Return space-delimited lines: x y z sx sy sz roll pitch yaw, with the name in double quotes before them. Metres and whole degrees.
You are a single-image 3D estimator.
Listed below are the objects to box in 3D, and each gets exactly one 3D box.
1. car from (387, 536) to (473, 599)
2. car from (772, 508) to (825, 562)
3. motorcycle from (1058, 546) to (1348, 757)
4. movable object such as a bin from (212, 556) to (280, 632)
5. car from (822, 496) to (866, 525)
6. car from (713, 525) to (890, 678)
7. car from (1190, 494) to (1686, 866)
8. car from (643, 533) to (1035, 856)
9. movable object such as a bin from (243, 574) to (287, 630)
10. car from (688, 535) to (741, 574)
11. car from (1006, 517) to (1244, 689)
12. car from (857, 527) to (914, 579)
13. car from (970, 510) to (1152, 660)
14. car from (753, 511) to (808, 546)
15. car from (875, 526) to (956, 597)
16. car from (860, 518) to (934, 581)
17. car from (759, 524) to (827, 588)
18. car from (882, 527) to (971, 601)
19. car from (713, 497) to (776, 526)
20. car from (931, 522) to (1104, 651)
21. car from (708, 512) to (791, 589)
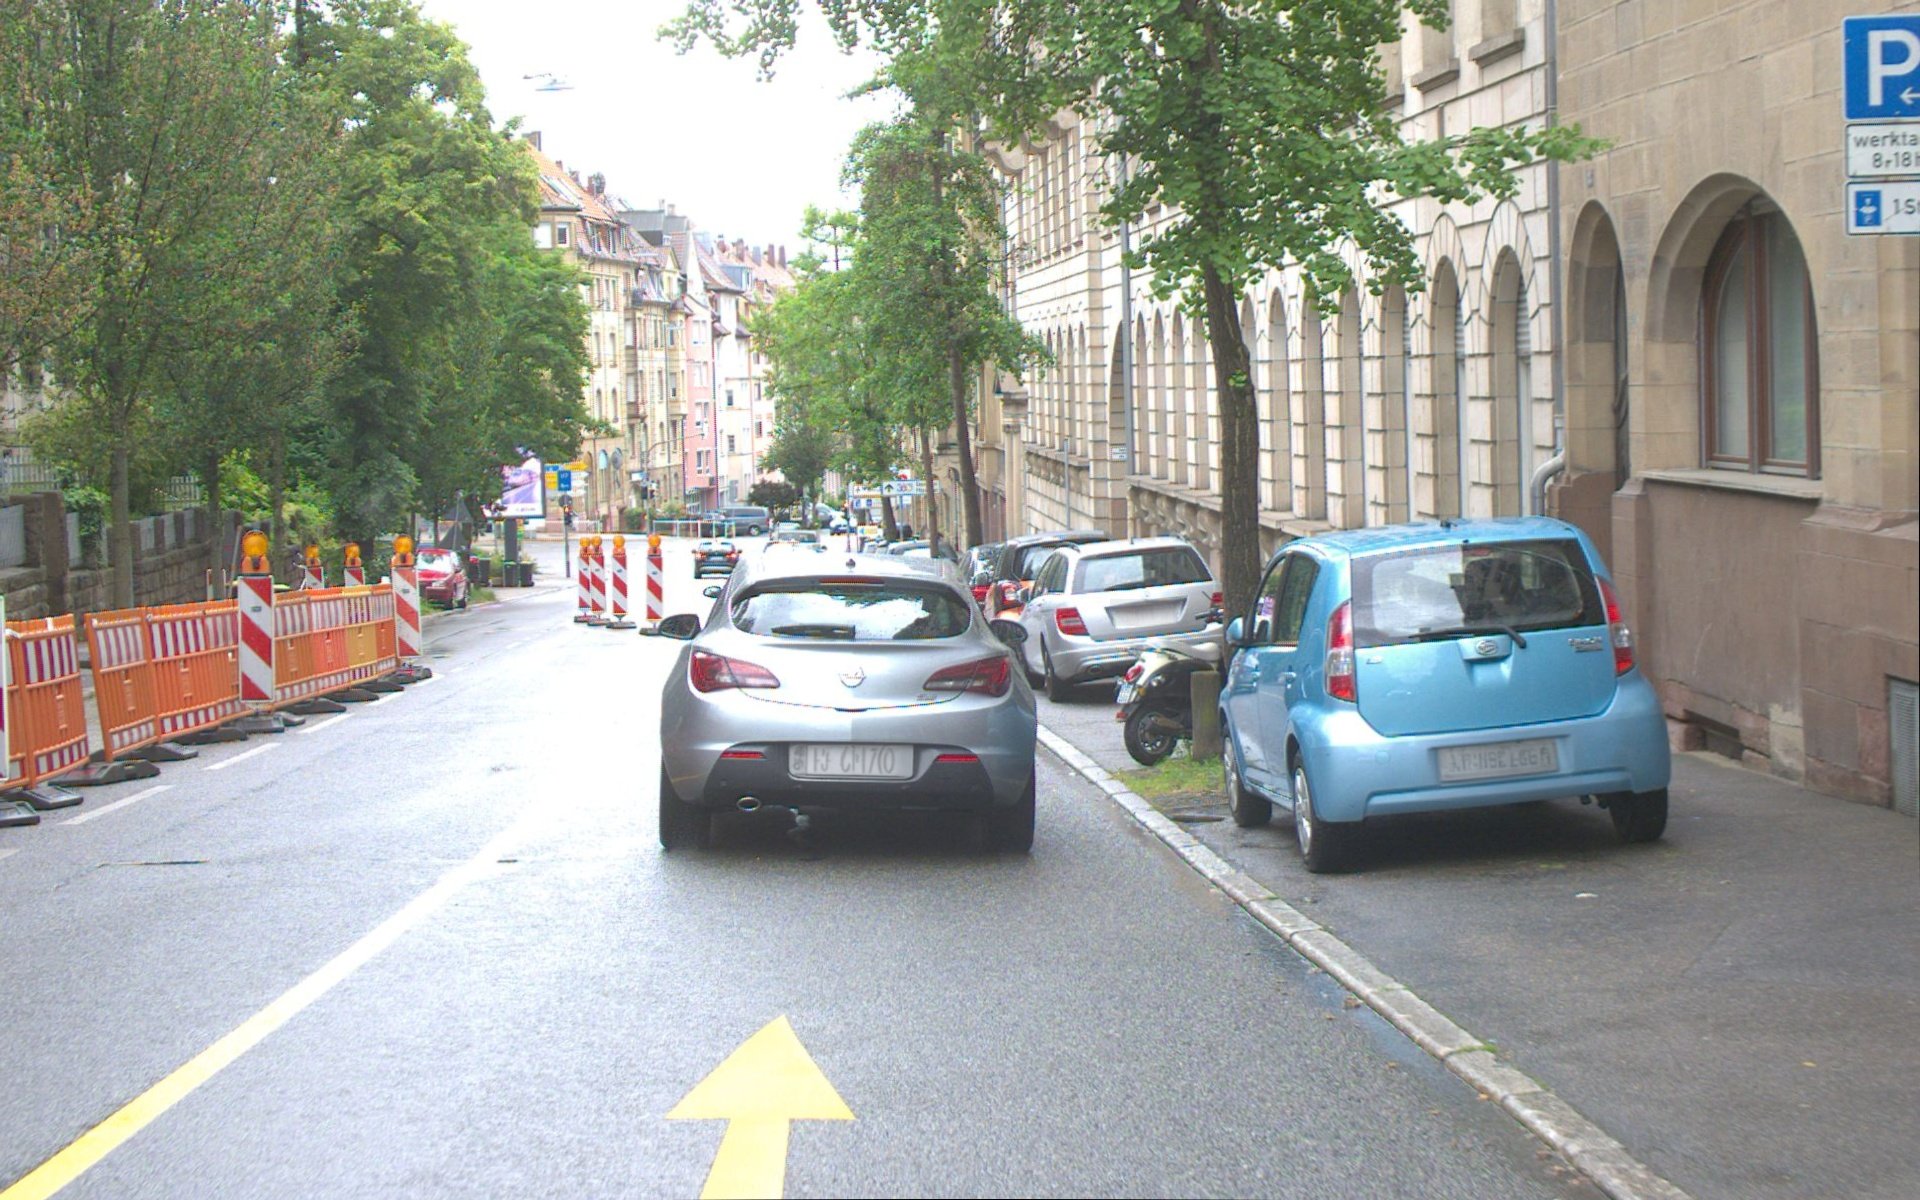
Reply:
"car" -13.057 -0.827 84.819 1.637 1.434 4.080 -1 2 -3
"car" -5.759 -2.297 122.066 1.715 1.776 3.666 -4 1 -3
"motorcycle" 1.622 0.316 22.747 1.933 1.231 0.657 -5 3 -39
"movable object such as a bin" -11.672 -0.102 56.194 0.944 1.210 0.856 1 1 -2
"car" -6.981 -5.402 207.898 1.994 1.678 3.999 2 1 7
"car" -1.693 -0.022 36.520 1.772 1.499 3.870 0 2 -3
"car" 2.216 0.312 16.862 1.656 1.537 3.666 -3 1 -3
"car" -0.568 0.400 17.844 1.811 1.444 3.869 0 2 0
"movable object such as a bin" -11.555 0.023 57.155 0.604 0.904 0.624 1 1 -2
"car" -9.818 -1.833 137.323 1.993 1.495 4.001 -1 1 -5
"car" 1.513 -0.028 33.078 1.695 1.426 4.423 -4 2 -4
"car" -2.318 -1.459 105.869 1.637 1.519 3.858 -1 2 -3
"car" 1.093 -0.203 38.569 1.638 1.515 3.184 -4 2 -4
"car" -8.939 -3.556 171.346 1.994 1.678 3.999 2 1 7
"car" -1.012 -0.876 76.302 1.637 1.464 3.858 -1 2 -3
"car" -1.680 -1.361 91.118 1.637 1.597 3.859 -2 2 -5
"car" -4.336 -1.156 88.951 1.656 1.537 3.666 -3 1 -3
"car" -0.724 -0.767 71.158 1.637 1.424 3.377 -2 2 -3
"car" -13.736 -5.656 219.389 3.986 1.744 2.000 2 1 -3
"car" 0.684 -0.218 44.596 1.757 1.456 4.725 -4 2 -4
"car" -4.526 -1.070 73.866 1.656 1.537 3.666 -3 1 -4
